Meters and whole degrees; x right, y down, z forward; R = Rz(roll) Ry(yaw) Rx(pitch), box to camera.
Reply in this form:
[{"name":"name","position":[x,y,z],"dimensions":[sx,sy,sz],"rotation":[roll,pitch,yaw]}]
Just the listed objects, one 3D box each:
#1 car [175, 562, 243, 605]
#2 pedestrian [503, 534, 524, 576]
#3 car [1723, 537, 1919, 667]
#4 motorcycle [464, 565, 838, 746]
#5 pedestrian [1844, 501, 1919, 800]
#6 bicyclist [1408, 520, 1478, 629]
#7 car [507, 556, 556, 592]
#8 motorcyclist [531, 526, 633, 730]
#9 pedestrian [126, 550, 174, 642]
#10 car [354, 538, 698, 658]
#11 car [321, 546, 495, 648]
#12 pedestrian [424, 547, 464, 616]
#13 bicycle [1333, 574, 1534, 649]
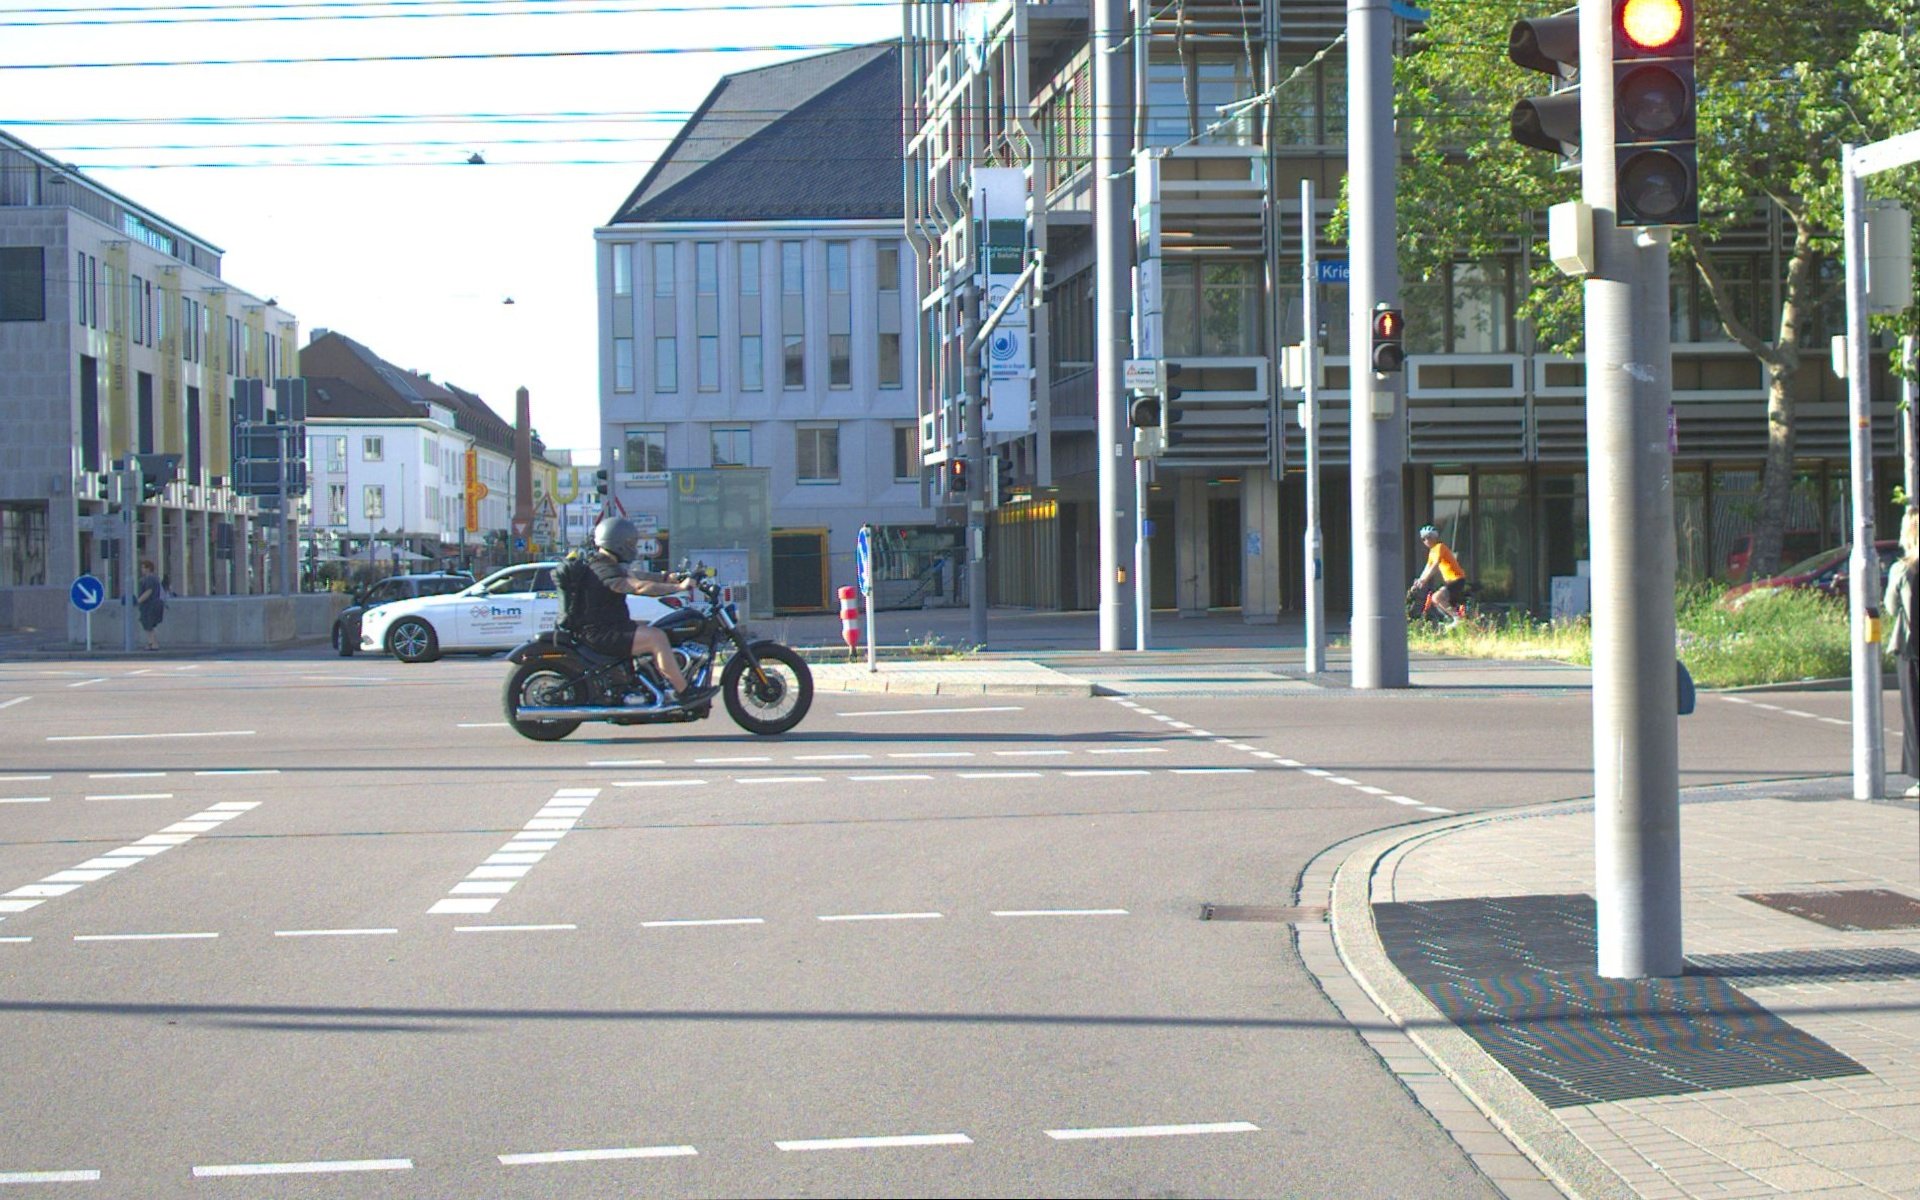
[{"name":"car","position":[-26.518,-0.608,121.472],"dimensions":[1.658,1.453,3.542],"rotation":[-1,1,-1]},{"name":"pedestrian","position":[-21.391,-2.151,164.684],"dimensions":[0.910,1.958,0.823],"rotation":[1,0,-1]},{"name":"car","position":[12.704,-0.002,46.473],"dimensions":[4.287,1.678,1.826],"rotation":[-1,1,-11]},{"name":"motorcycle","position":[-2.217,0.382,24.613],"dimensions":[2.594,1.204,0.730],"rotation":[-1,2,-10]},{"name":"pedestrian","position":[5.383,0.261,18.946],"dimensions":[0.765,1.608,0.874],"rotation":[-1,1,-2]},{"name":"bicyclist","position":[6.616,-0.354,47.125],"dimensions":[0.822,1.469,0.652],"rotation":[-1,1,-4]},{"name":"car","position":[-18.196,-1.115,146.044],"dimensions":[1.658,1.453,3.542],"rotation":[-1,1,-1]},{"name":"motorcyclist","position":[-2.700,0.188,24.535],"dimensions":[0.656,1.418,0.648],"rotation":[-1,2,-10]},{"name":"pedestrian","position":[-14.860,-0.077,63.079],"dimensions":[0.700,1.682,0.619],"rotation":[-1,1,0]},{"name":"car","position":[-6.378,-0.046,50.859],"dimensions":[4.844,1.678,1.825],"rotation":[-1,1,-1]},{"name":"car","position":[-9.550,-0.073,59.267],"dimensions":[1.819,1.678,4.001],"rotation":[-1,1,-27]},{"name":"pedestrian","position":[-13.404,-0.480,89.293],"dimensions":[0.899,1.776,0.808],"rotation":[-1,1,-1]},{"name":"bicycle","position":[6.472,0.154,47.115],"dimensions":[2.568,0.972,1.047],"rotation":[-1,1,-3]}]
